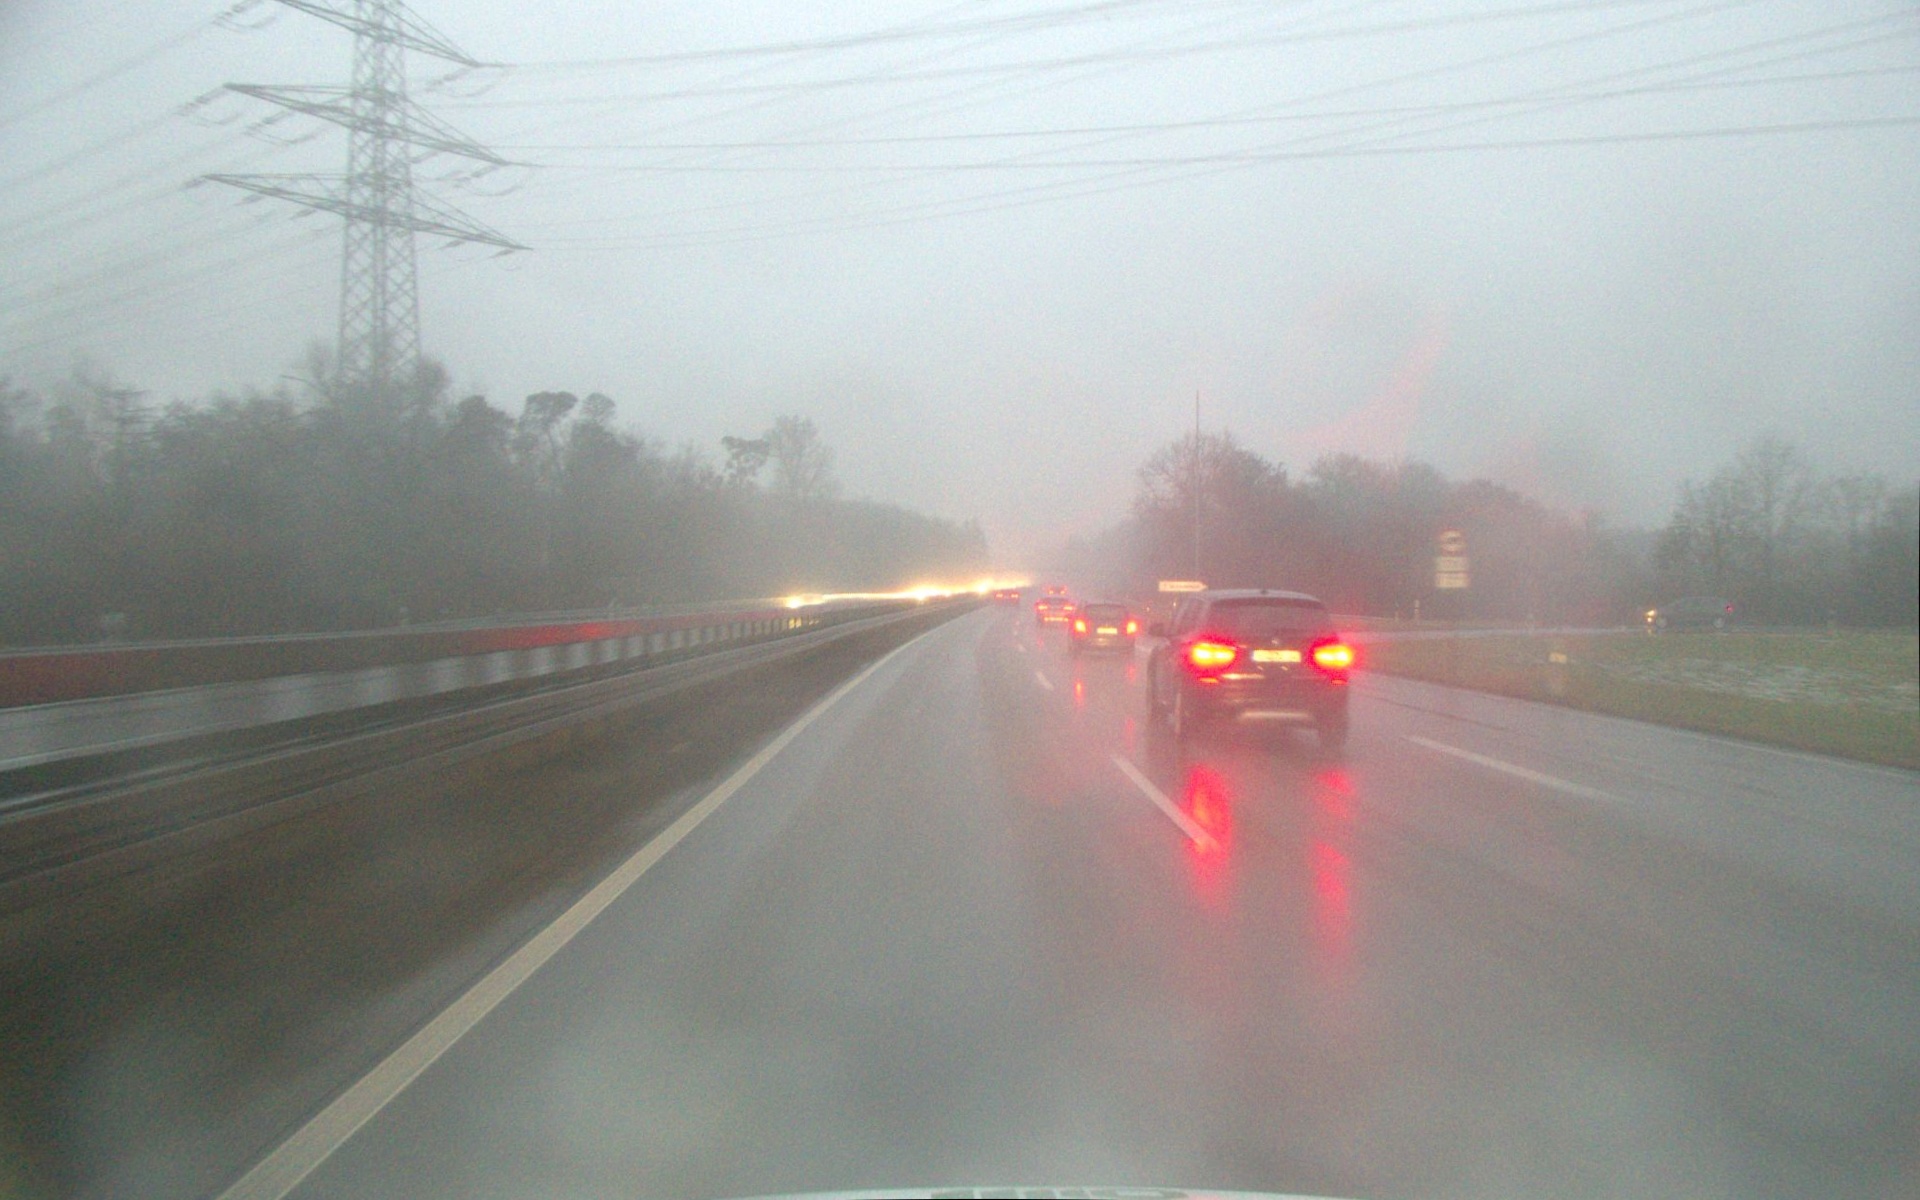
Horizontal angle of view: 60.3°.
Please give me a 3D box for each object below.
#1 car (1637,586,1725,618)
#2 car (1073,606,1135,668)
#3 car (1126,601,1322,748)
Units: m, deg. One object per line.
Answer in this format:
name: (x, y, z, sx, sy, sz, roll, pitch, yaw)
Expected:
car: (33.852, 0.096, 77.716, 3.731, 1.459, 1.793, 1, 1, 23)
car: (3.834, 0.957, 44.447, 1.561, 1.517, 3.596, 0, 1, 3)
car: (3.040, 0.801, 19.714, 1.644, 1.535, 3.808, 0, 1, -1)
